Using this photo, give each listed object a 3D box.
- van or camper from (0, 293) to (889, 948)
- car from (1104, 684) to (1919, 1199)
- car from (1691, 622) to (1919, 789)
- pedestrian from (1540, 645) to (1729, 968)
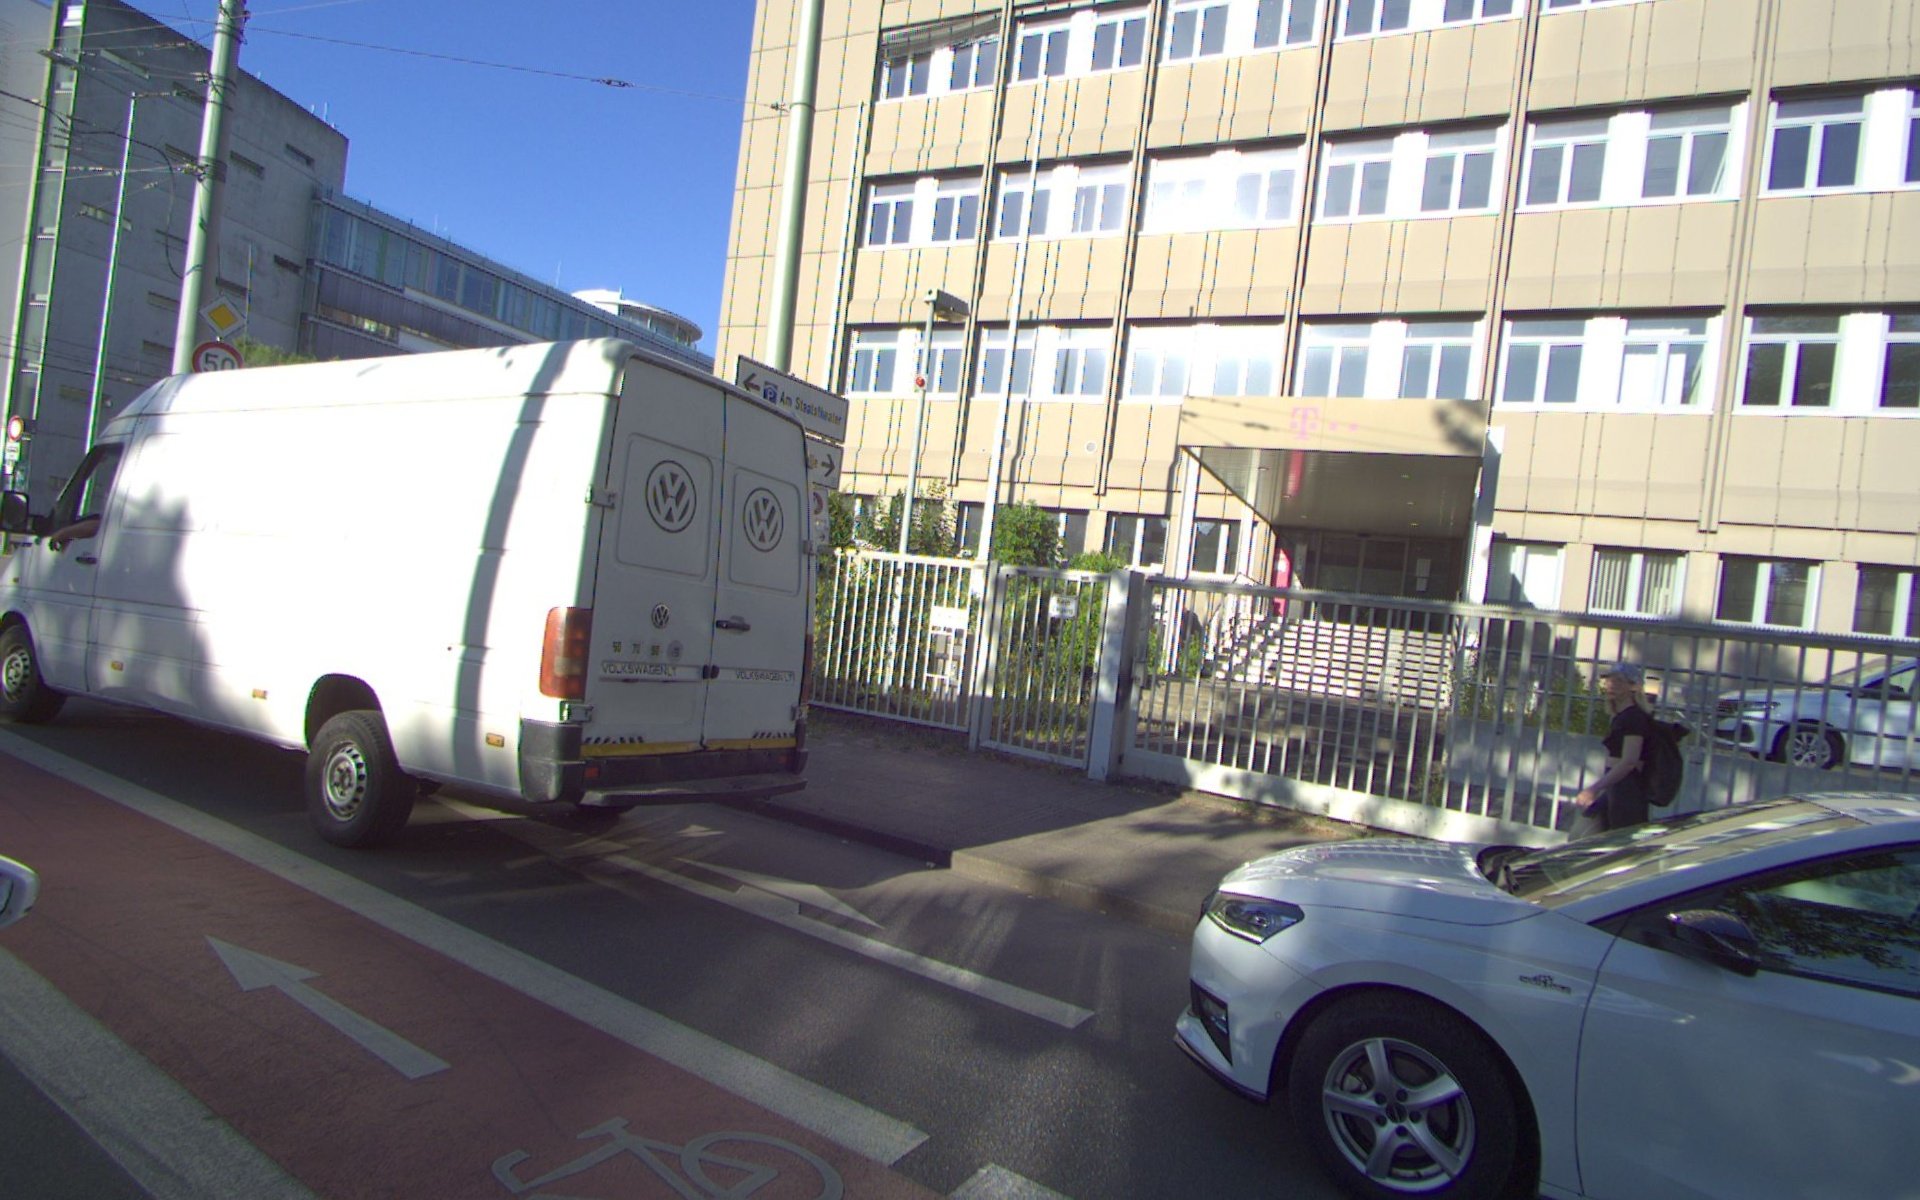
[{"bbox_3d":[-3.744,-0.149,6.550,6.196,2.748,1.973,7,-1,29],"label":"van or camper"},{"bbox_3d":[2.689,1.254,3.019,4.006,1.405,1.705,7,-1,30],"label":"car"},{"bbox_3d":[12.816,1.531,13.253,4.701,1.865,1.998,7,0,27],"label":"car"},{"bbox_3d":[4.149,1.221,6.247,0.757,1.784,0.591,7,1,32],"label":"pedestrian"}]
